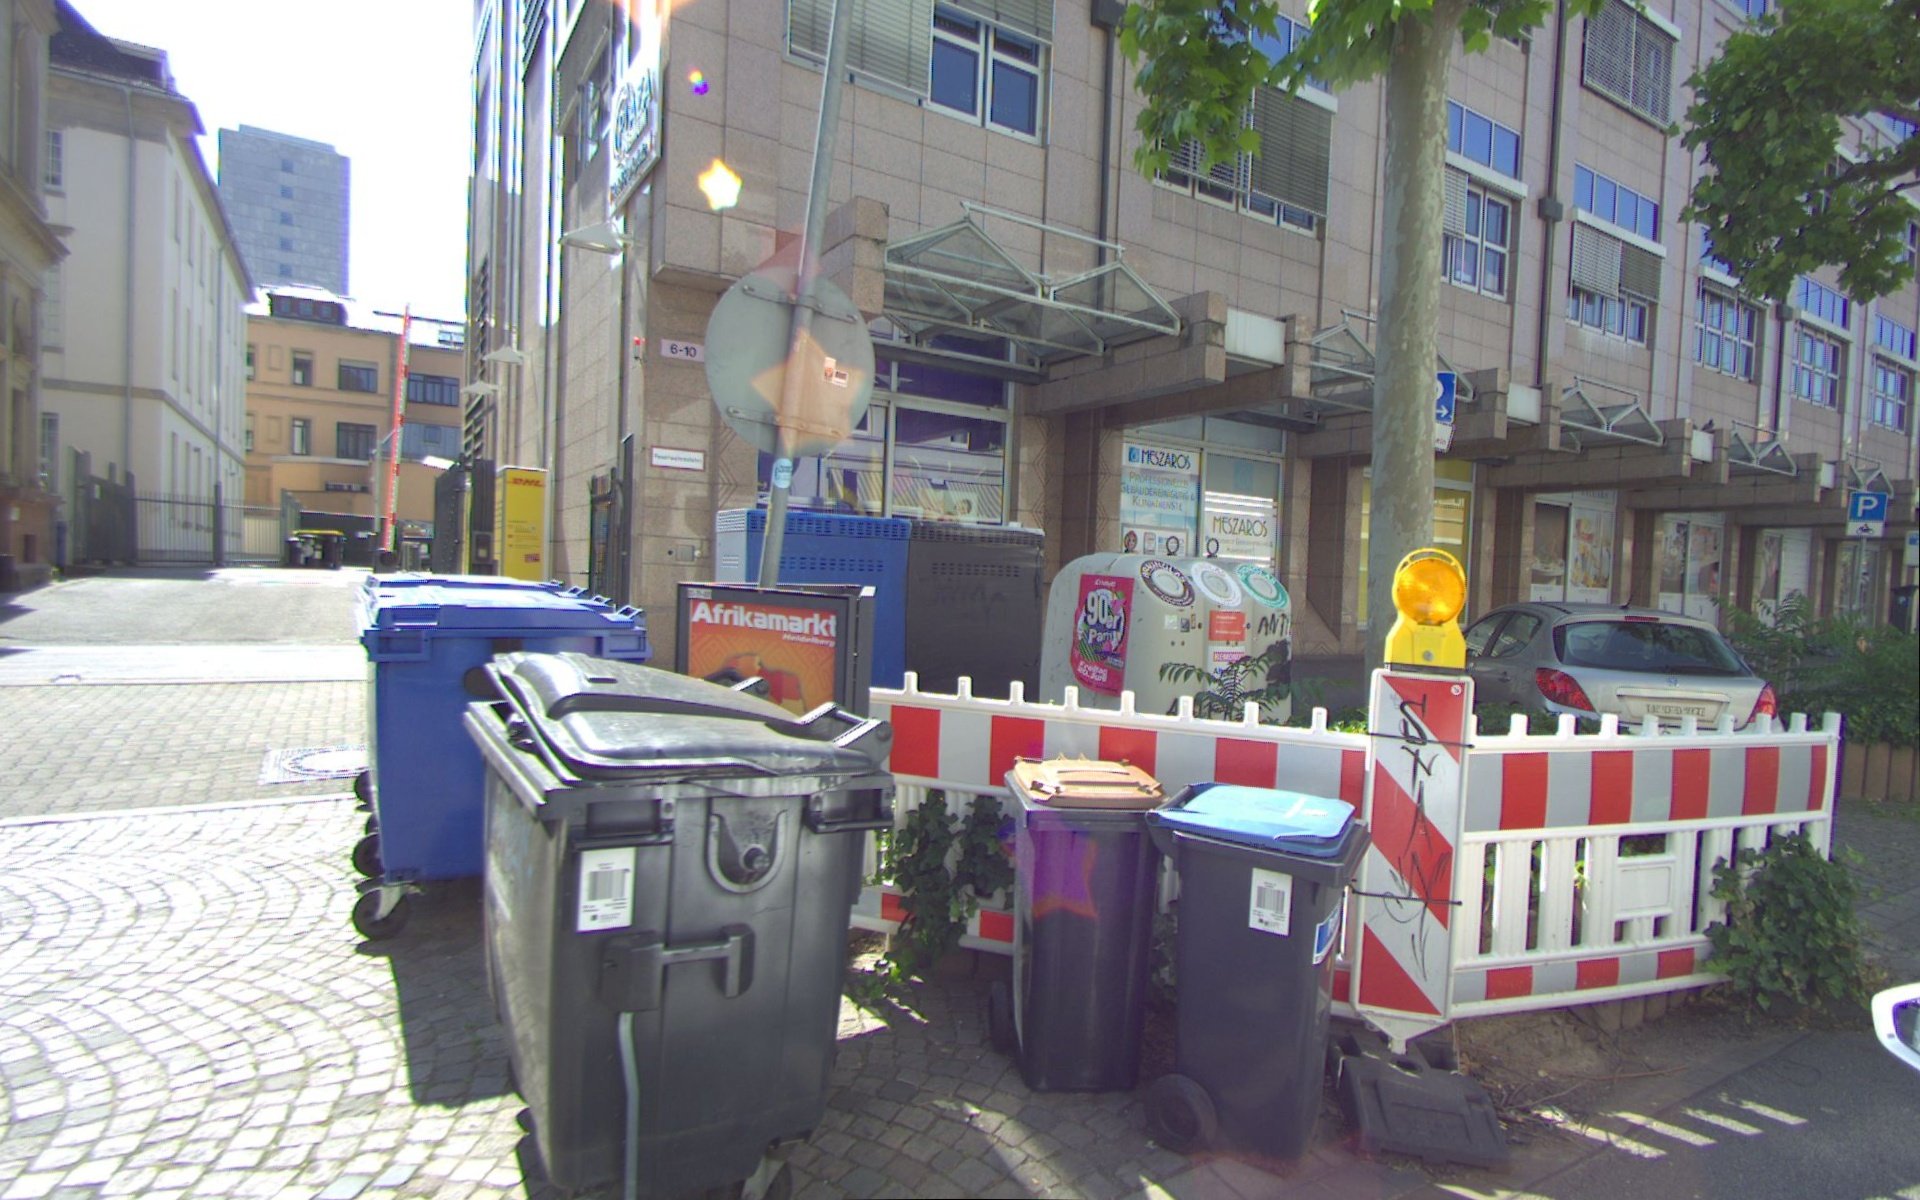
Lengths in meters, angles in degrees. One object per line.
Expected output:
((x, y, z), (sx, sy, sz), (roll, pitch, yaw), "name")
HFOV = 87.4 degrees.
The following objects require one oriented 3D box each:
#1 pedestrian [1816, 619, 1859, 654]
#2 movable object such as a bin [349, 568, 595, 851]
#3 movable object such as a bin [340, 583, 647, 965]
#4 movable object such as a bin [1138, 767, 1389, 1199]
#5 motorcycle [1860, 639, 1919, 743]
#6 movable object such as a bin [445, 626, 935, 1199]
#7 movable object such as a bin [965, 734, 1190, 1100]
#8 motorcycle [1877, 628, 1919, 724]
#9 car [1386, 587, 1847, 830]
((22.709, 0.945, 26.000), (0.765, 0.820, 0.562), (1, 6, -32), "pedestrian")
((-2.743, 0.512, 5.593), (1.115, 1.317, 1.202), (0, 4, -32), "movable object such as a bin")
((-2.066, 0.619, 4.381), (1.067, 1.317, 1.202), (0, 4, -32), "movable object such as a bin")
((0.849, 0.998, 2.784), (0.546, 0.952, 0.499), (1, 0, 32), "movable object such as a bin")
((11.976, 1.141, 11.691), (0.903, 1.185, 2.178), (2, 2, -4), "motorcycle")
((-0.765, 0.768, 2.539), (0.844, 1.317, 1.270), (1, 2, -31), "movable object such as a bin")
((0.349, 0.936, 3.145), (0.546, 0.952, 0.499), (0, 0, -15), "movable object such as a bin")
((13.857, 1.095, 13.192), (1.271, 1.285, 2.347), (2, 2, -11), "motorcycle")
((5.356, 0.710, 8.962), (1.896, 1.515, 4.059), (2, 2, 9), "car")
